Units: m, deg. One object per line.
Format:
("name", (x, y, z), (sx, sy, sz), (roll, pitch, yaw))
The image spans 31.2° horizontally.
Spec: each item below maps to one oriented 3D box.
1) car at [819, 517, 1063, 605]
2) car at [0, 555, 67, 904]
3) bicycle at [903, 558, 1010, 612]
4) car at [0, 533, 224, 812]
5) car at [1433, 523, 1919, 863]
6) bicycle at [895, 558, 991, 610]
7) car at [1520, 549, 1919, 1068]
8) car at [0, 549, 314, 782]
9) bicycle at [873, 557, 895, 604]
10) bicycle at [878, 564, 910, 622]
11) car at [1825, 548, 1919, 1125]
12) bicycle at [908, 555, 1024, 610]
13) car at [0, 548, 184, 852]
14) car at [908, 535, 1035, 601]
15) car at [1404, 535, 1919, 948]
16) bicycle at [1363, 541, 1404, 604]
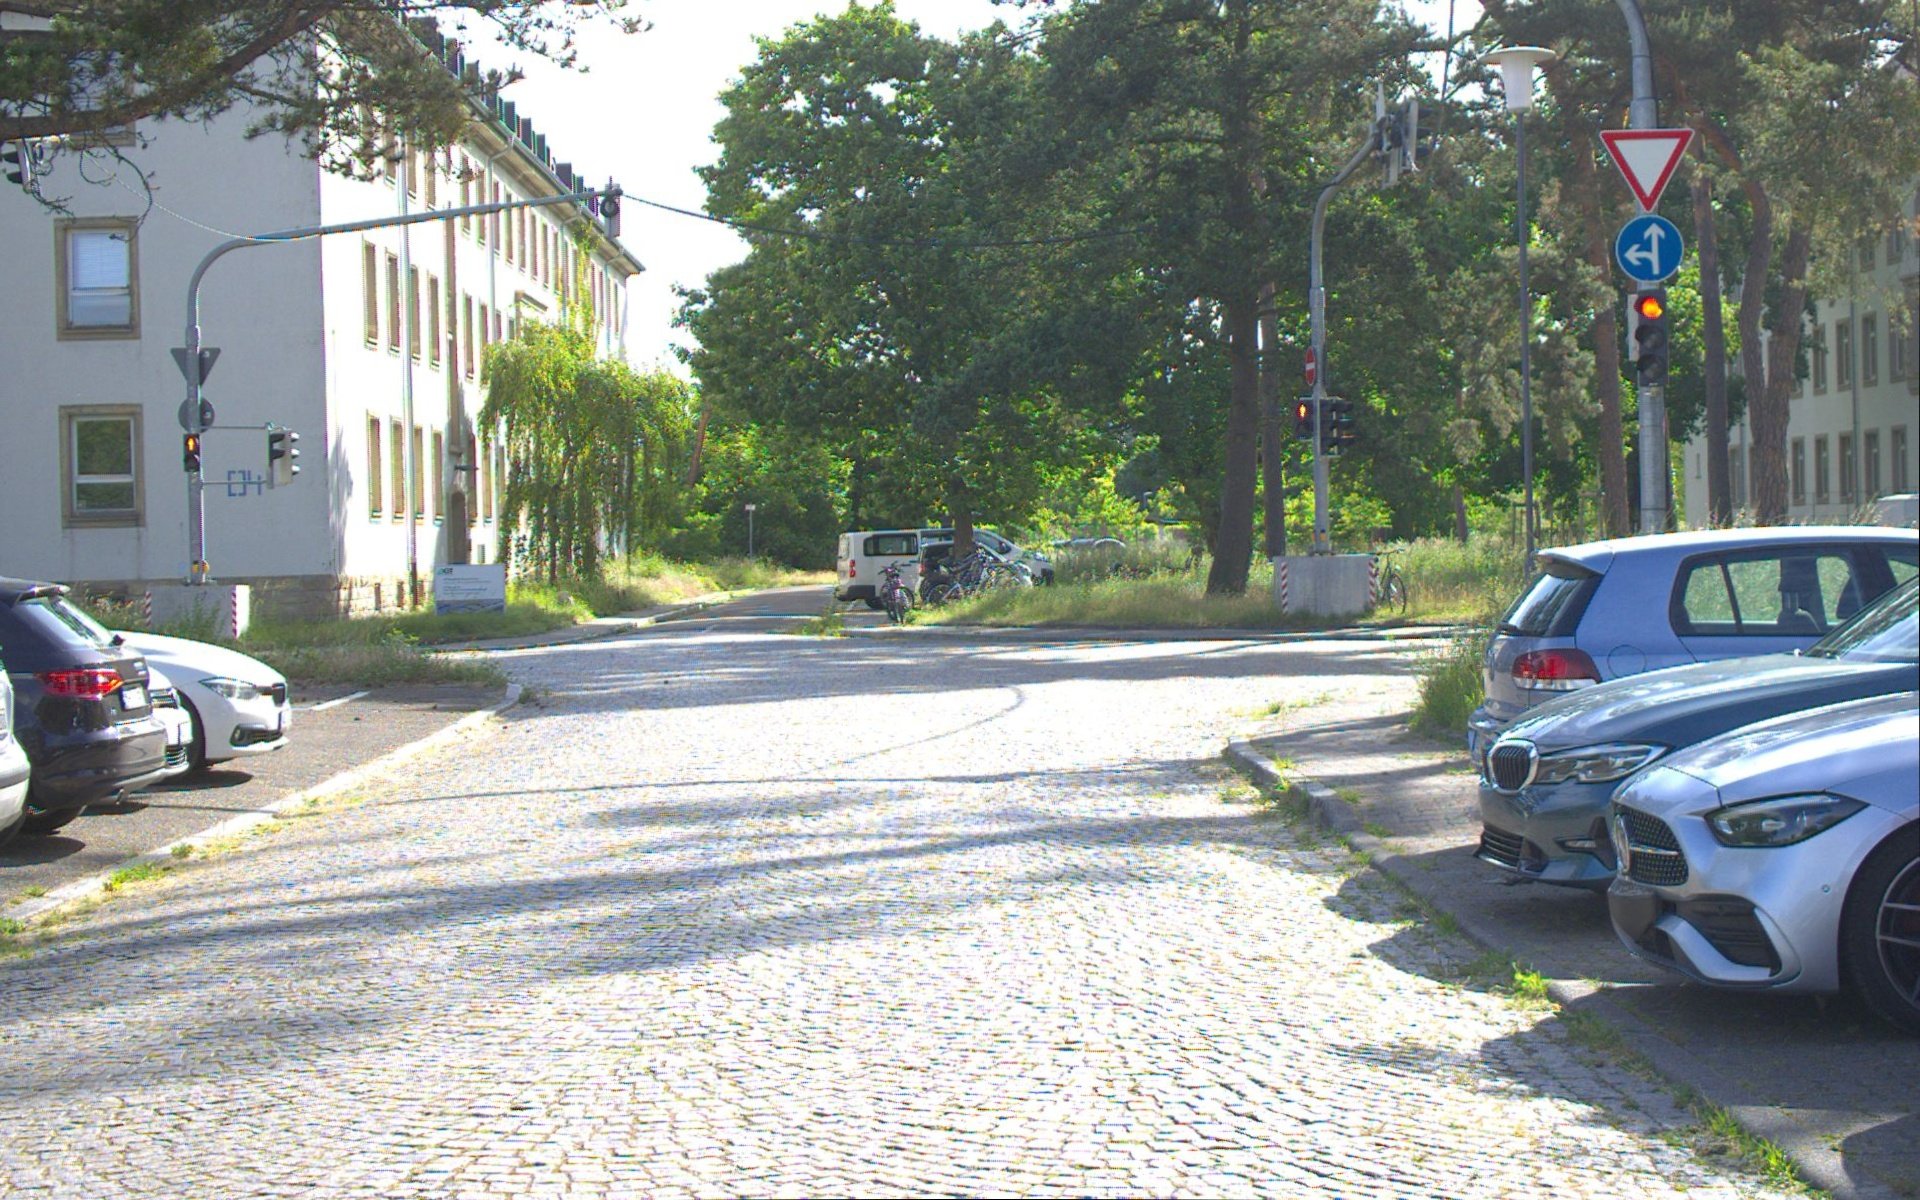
("car", (-0.461, -0.939, 83.149), (5.520, 2.007, 2.001), (1, 0, -18))
("car", (-6.036, 0.527, 15.260), (3.746, 1.482, 1.646), (1, 1, -3))
("bicycle", (-0.073, -0.294, 66.806), (2.004, 1.007, 0.632), (1, 0, -8))
("car", (-6.682, 0.384, 20.849), (4.080, 1.588, 1.886), (1, 1, -3))
("car", (4.315, 0.365, 16.234), (3.882, 1.410, 1.637), (-3, 1, 0))
("bicycle", (-0.347, -0.314, 68.561), (1.837, 1.007, 0.636), (1, 0, -8))
("car", (4.138, 0.516, 10.740), (4.432, 1.410, 1.781), (-3, 2, 0))
("car", (-6.675, 0.397, 23.197), (4.333, 1.463, 1.831), (1, 1, -3))
("bicycle", (-1.652, -0.426, 74.743), (0.417, 1.007, 1.483), (1, 0, 0))
("bicycle", (-1.181, -0.132, 61.476), (0.467, 1.007, 1.586), (1, 0, -4))
("car", (4.464, 0.519, 8.620), (4.127, 1.444, 1.637), (-3, 1, 0))
("bicycle", (0.116, -0.330, 65.093), (2.109, 1.007, 0.621), (1, 0, -8))
("car", (-6.213, 0.461, 17.889), (3.986, 1.475, 1.803), (1, 1, -3))
("car", (0.261, -0.743, 79.565), (2.781, 1.462, 1.671), (1, 0, -5))
("car", (4.149, 0.451, 13.455), (4.559, 1.410, 1.637), (-3, 1, 0))
("bicycle", (6.525, -0.427, 53.008), (0.300, 0.957, 1.586), (1, 0, -4))
